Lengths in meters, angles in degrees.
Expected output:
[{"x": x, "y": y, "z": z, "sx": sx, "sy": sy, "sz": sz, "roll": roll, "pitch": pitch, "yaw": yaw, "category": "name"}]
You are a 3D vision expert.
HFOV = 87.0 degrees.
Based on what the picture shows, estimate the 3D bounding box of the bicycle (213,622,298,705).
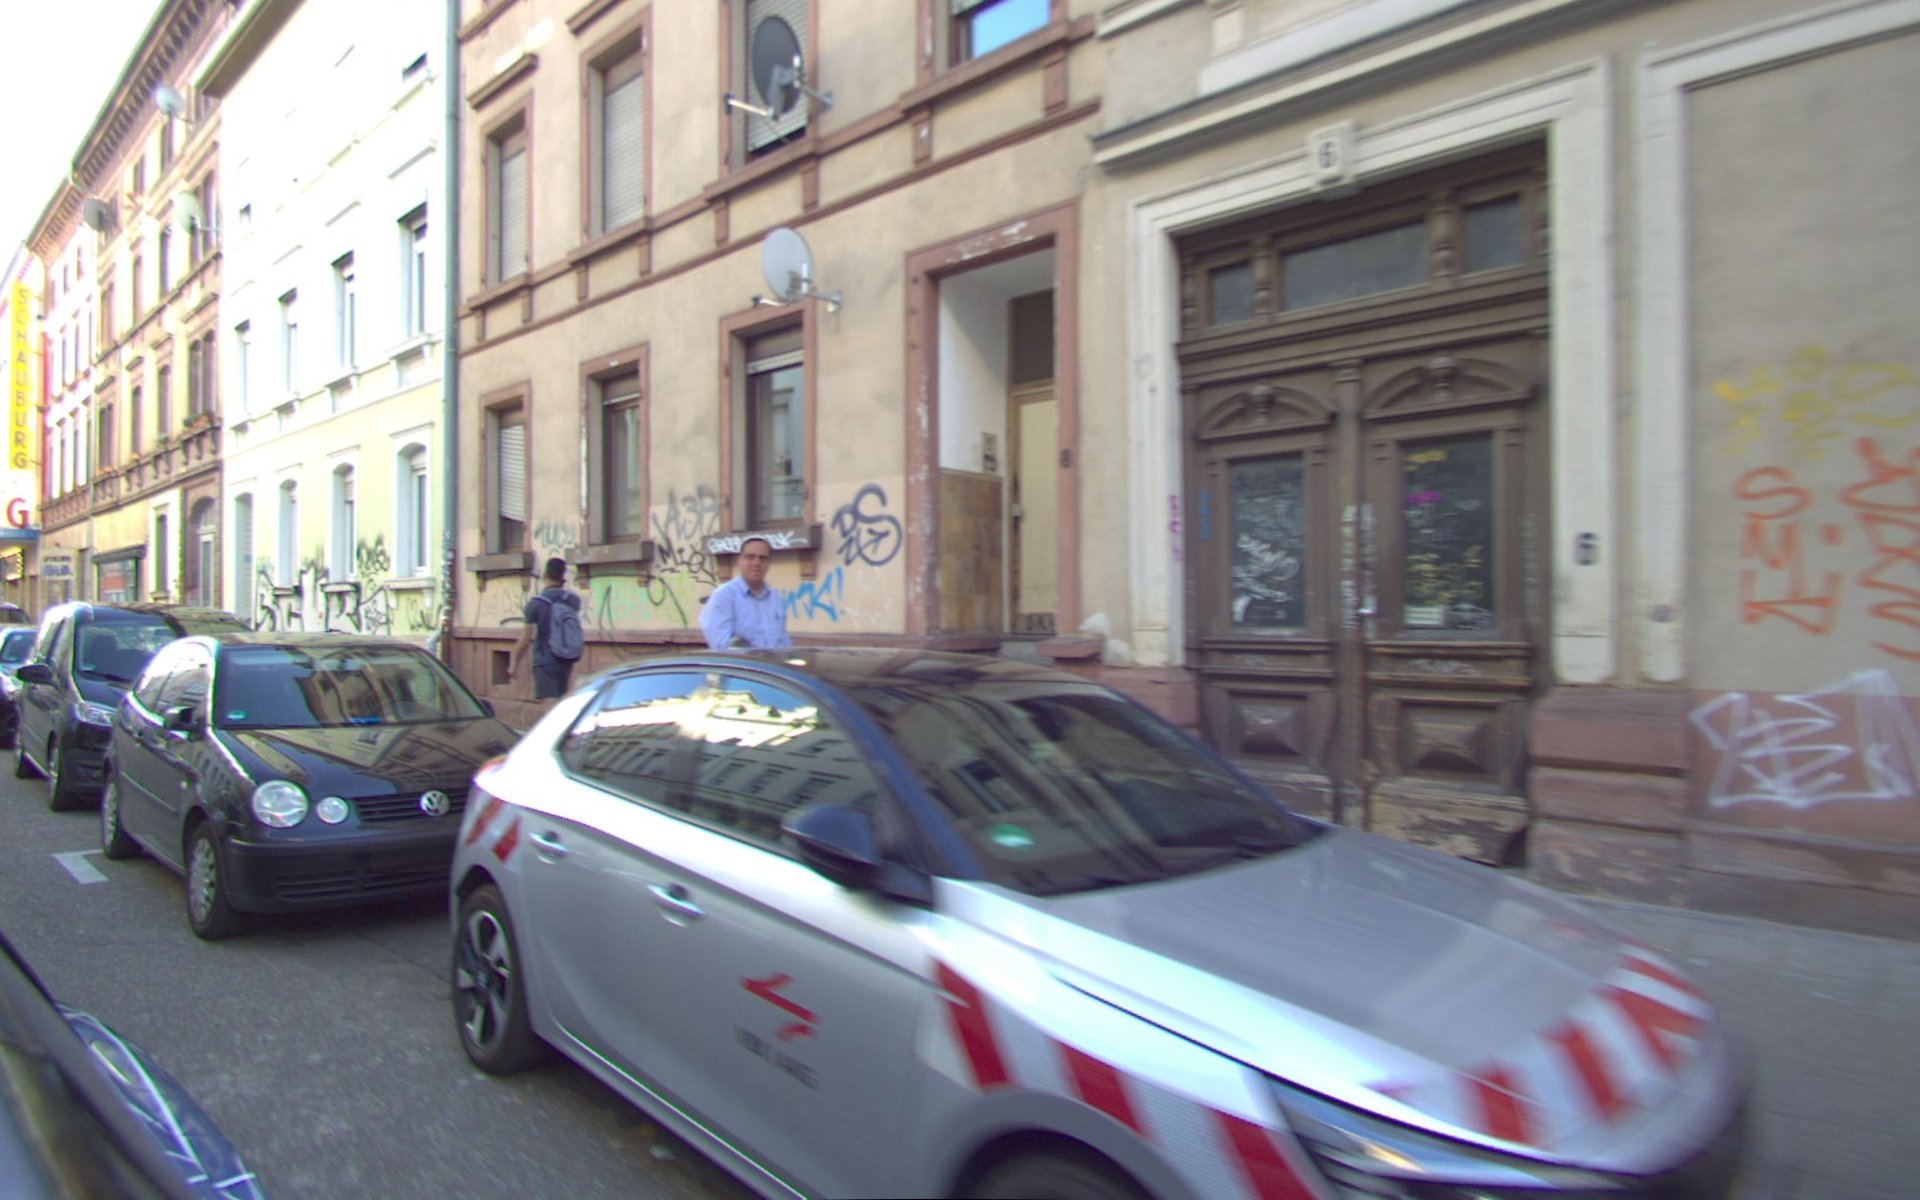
[{"x": -11.599, "y": 1.010, "z": 16.637, "sx": 2.085, "sy": 1.281, "sz": 0.666, "roll": -1, "pitch": -2, "yaw": 41, "category": "bicycle"}]

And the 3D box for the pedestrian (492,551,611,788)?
[{"x": -3.425, "y": 0.548, "z": 8.484, "sx": 0.753, "sy": 1.872, "sz": 0.604, "roll": -1, "pitch": 0, "yaw": 40, "category": "pedestrian"}]

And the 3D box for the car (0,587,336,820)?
[{"x": -7.579, "y": 0.837, "z": 9.453, "sx": 3.997, "sy": 1.711, "sz": 1.782, "roll": -1, "pitch": -4, "yaw": 41, "category": "car"}]

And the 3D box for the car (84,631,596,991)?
[{"x": -3.797, "y": 0.913, "z": 5.947, "sx": 3.652, "sy": 1.451, "sz": 1.575, "roll": -1, "pitch": -2, "yaw": 42, "category": "car"}]

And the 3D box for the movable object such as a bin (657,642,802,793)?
[{"x": -1.822, "y": 0.892, "z": 8.023, "sx": 0.757, "sy": 1.032, "sz": 0.781, "roll": -1, "pitch": 2, "yaw": 43, "category": "movable object such as a bin"}]

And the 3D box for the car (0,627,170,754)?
[{"x": -11.942, "y": 1.072, "z": 13.298, "sx": 3.998, "sy": 1.438, "sz": 1.718, "roll": -1, "pitch": -2, "yaw": 41, "category": "car"}]

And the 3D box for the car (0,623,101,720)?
[{"x": -16.013, "y": 1.135, "z": 16.793, "sx": 4.640, "sy": 1.451, "sz": 1.843, "roll": -2, "pitch": -3, "yaw": 39, "category": "car"}]

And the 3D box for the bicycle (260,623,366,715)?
[{"x": -9.750, "y": 0.997, "z": 15.217, "sx": 2.325, "sy": 1.255, "sz": 0.660, "roll": -1, "pitch": 1, "yaw": 41, "category": "bicycle"}]

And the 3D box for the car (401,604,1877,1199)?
[{"x": -0.018, "y": 0.780, "z": 2.899, "sx": 3.888, "sy": 1.441, "sz": 1.655, "roll": -2, "pitch": -2, "yaw": 43, "category": "car"}]

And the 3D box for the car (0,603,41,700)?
[{"x": -20.877, "y": 1.032, "z": 21.199, "sx": 4.611, "sy": 1.906, "sz": 1.808, "roll": -1, "pitch": -4, "yaw": 41, "category": "car"}]

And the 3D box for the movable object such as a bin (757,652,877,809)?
[{"x": -1.027, "y": 0.914, "z": 7.359, "sx": 0.587, "sy": 1.033, "sz": 0.727, "roll": -1, "pitch": -1, "yaw": 21, "category": "movable object such as a bin"}]

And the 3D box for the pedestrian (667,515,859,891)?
[{"x": -1.054, "y": 0.500, "z": 5.409, "sx": 0.753, "sy": 1.831, "sz": 0.644, "roll": -1, "pitch": 0, "yaw": 41, "category": "pedestrian"}]
